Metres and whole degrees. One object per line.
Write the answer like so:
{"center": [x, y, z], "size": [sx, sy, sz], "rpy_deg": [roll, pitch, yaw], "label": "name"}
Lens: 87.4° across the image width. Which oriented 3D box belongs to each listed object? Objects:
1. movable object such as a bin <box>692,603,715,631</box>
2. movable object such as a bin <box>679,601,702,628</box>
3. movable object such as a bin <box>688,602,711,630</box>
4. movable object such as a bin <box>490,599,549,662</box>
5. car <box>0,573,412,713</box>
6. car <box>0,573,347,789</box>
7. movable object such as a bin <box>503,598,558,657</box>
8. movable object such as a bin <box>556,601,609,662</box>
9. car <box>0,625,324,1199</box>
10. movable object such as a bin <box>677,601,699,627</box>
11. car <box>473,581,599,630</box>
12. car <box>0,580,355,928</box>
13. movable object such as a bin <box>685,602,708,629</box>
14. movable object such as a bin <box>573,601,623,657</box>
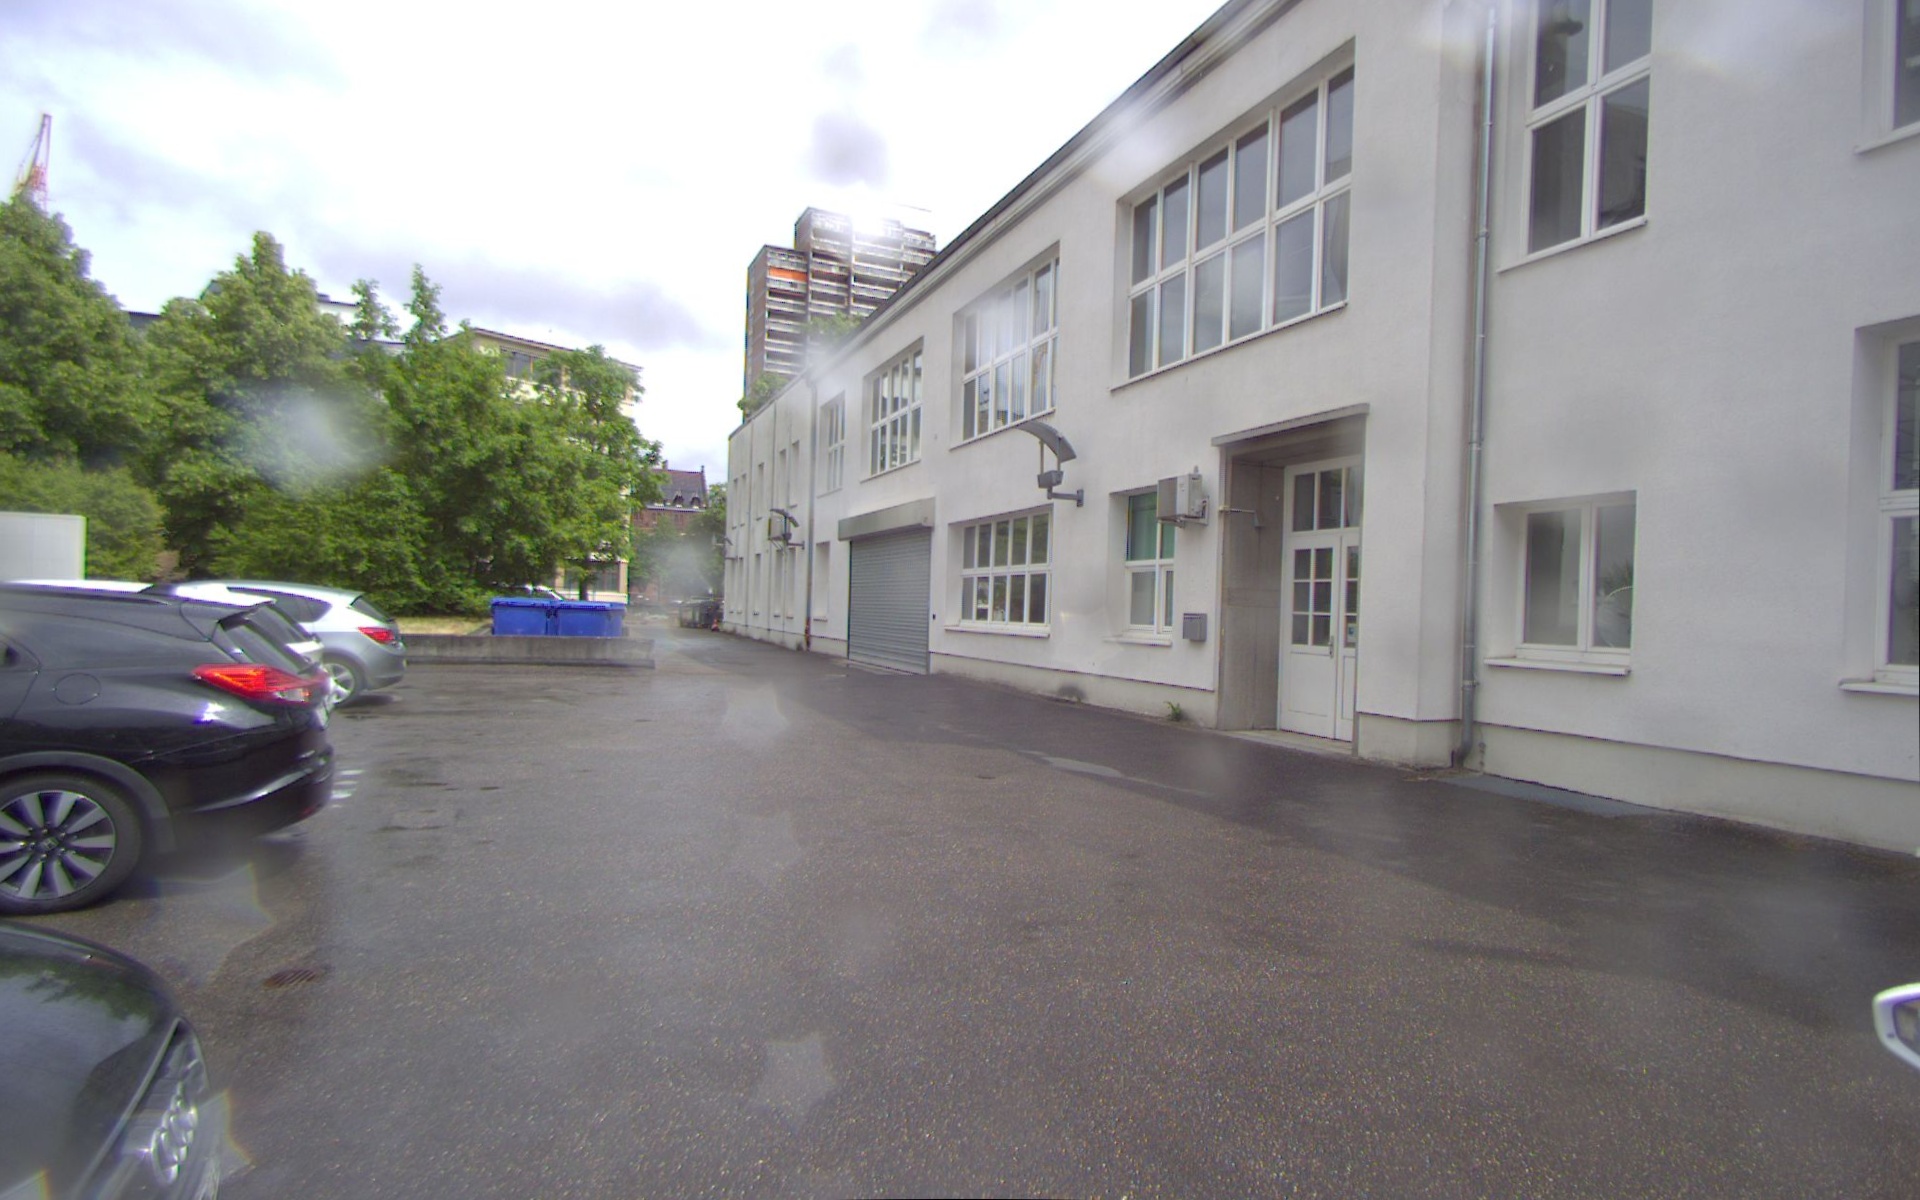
{"center": [-12.717, 0.841, 49.784], "size": [0.964, 1.374, 0.915], "rpy_deg": [1, 1, -20], "label": "movable object such as a bin"}
{"center": [-14.509, 0.769, 54.095], "size": [1.050, 1.374, 1.259], "rpy_deg": [1, 0, -20], "label": "movable object such as a bin"}
{"center": [-13.338, 0.816, 51.381], "size": [1.030, 1.374, 1.202], "rpy_deg": [1, 0, -20], "label": "movable object such as a bin"}
{"center": [-9.893, 0.676, 22.608], "size": [1.114, 1.346, 1.202], "rpy_deg": [1, 0, -20], "label": "movable object such as a bin"}
{"center": [-9.112, 0.527, 12.178], "size": [4.265, 1.462, 1.749], "rpy_deg": [3, 0, -30], "label": "car"}
{"center": [-7.080, 0.542, 7.529], "size": [4.075, 1.462, 1.684], "rpy_deg": [3, 0, -28], "label": "car"}
{"center": [-10.340, 0.655, 24.224], "size": [1.114, 1.346, 1.202], "rpy_deg": [1, 0, -20], "label": "movable object such as a bin"}
{"center": [-8.676, 0.716, 23.119], "size": [1.079, 1.343, 1.202], "rpy_deg": [1, 0, -20], "label": "movable object such as a bin"}
{"center": [-3.100, 0.670, 0.546], "size": [4.474, 1.370, 1.750], "rpy_deg": [3, 0, -29], "label": "car"}
{"center": [-14.988, 0.749, 55.374], "size": [1.050, 1.374, 1.259], "rpy_deg": [1, 0, -20], "label": "movable object such as a bin"}
{"center": [-16.107, 0.208, 38.415], "size": [4.267, 1.750, 1.715], "rpy_deg": [2, 0, -19], "label": "car"}
{"center": [-5.320, 0.611, 4.589], "size": [4.265, 1.462, 1.749], "rpy_deg": [3, 0, -30], "label": "car"}
{"center": [-13.820, 0.796, 52.648], "size": [1.047, 1.374, 1.213], "rpy_deg": [1, 0, -20], "label": "movable object such as a bin"}
{"center": [-8.969, 0.709, 24.916], "size": [1.114, 1.346, 1.202], "rpy_deg": [1, 0, -20], "label": "movable object such as a bin"}
